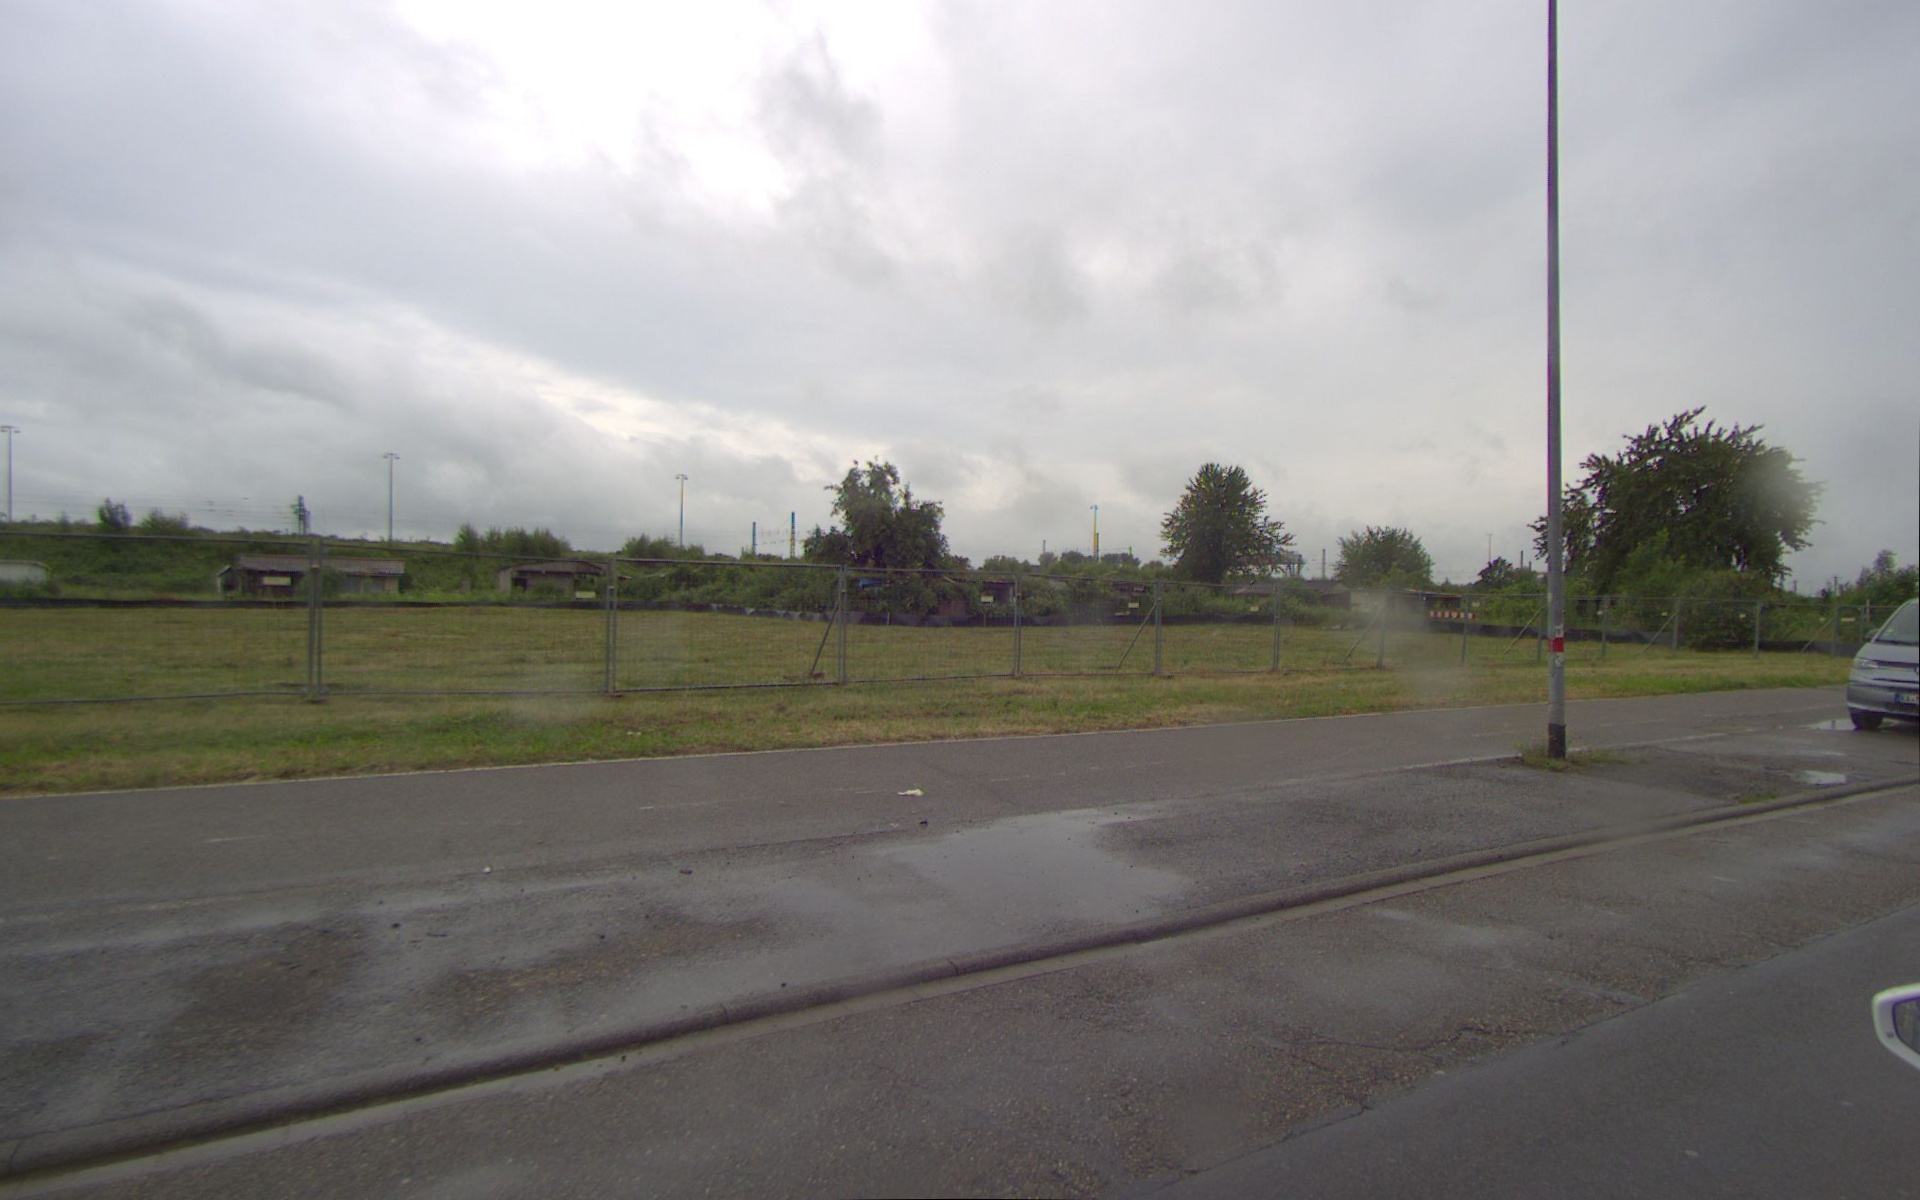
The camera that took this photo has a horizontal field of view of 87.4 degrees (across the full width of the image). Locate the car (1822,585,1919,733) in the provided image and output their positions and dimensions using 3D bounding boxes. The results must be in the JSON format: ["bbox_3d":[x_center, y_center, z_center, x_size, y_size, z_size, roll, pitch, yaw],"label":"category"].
[{"bbox_3d":[14.631,0.793,14.410,4.937,1.927,1.946,1,1,-31],"label":"car"}]
